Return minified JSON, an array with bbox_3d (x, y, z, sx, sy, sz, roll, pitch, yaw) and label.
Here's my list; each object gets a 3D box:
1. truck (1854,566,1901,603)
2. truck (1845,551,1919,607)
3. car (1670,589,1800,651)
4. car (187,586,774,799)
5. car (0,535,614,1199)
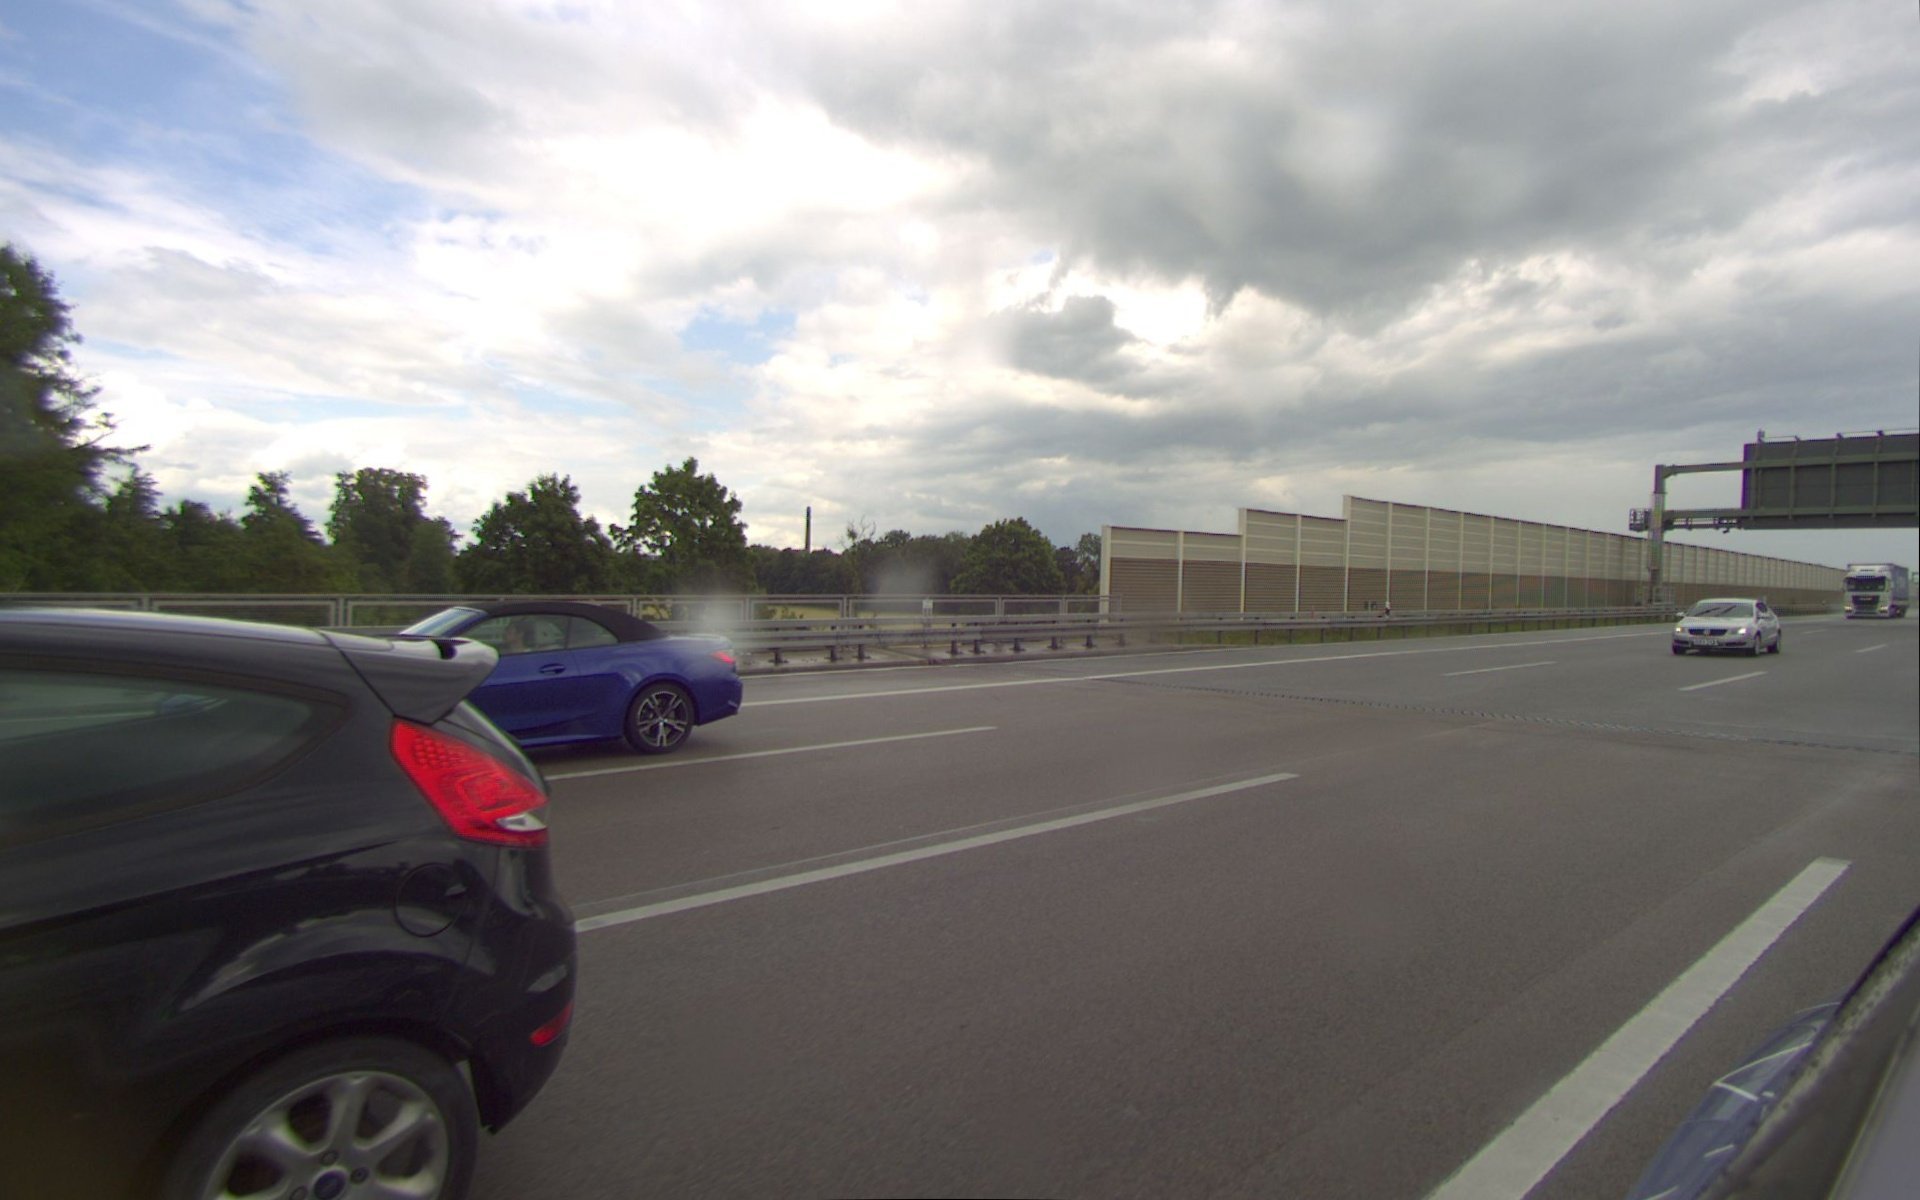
[{"bbox_3d":[80.246,-1.331,88.482,6.778,3.106,2.262,0,1,-41],"label":"truck"},{"bbox_3d":[70.844,-1.556,77.588,12.107,3.956,3.250,-1,0,-43],"label":"truck"},{"bbox_3d":[20.229,0.458,26.351,4.171,1.465,1.897,0,1,-41],"label":"car"},{"bbox_3d":[-4.108,0.616,9.158,4.508,1.465,1.780,0,1,-41],"label":"car"},{"bbox_3d":[-2.963,0.618,1.535,4.329,1.458,1.666,0,1,-42],"label":"car"}]
